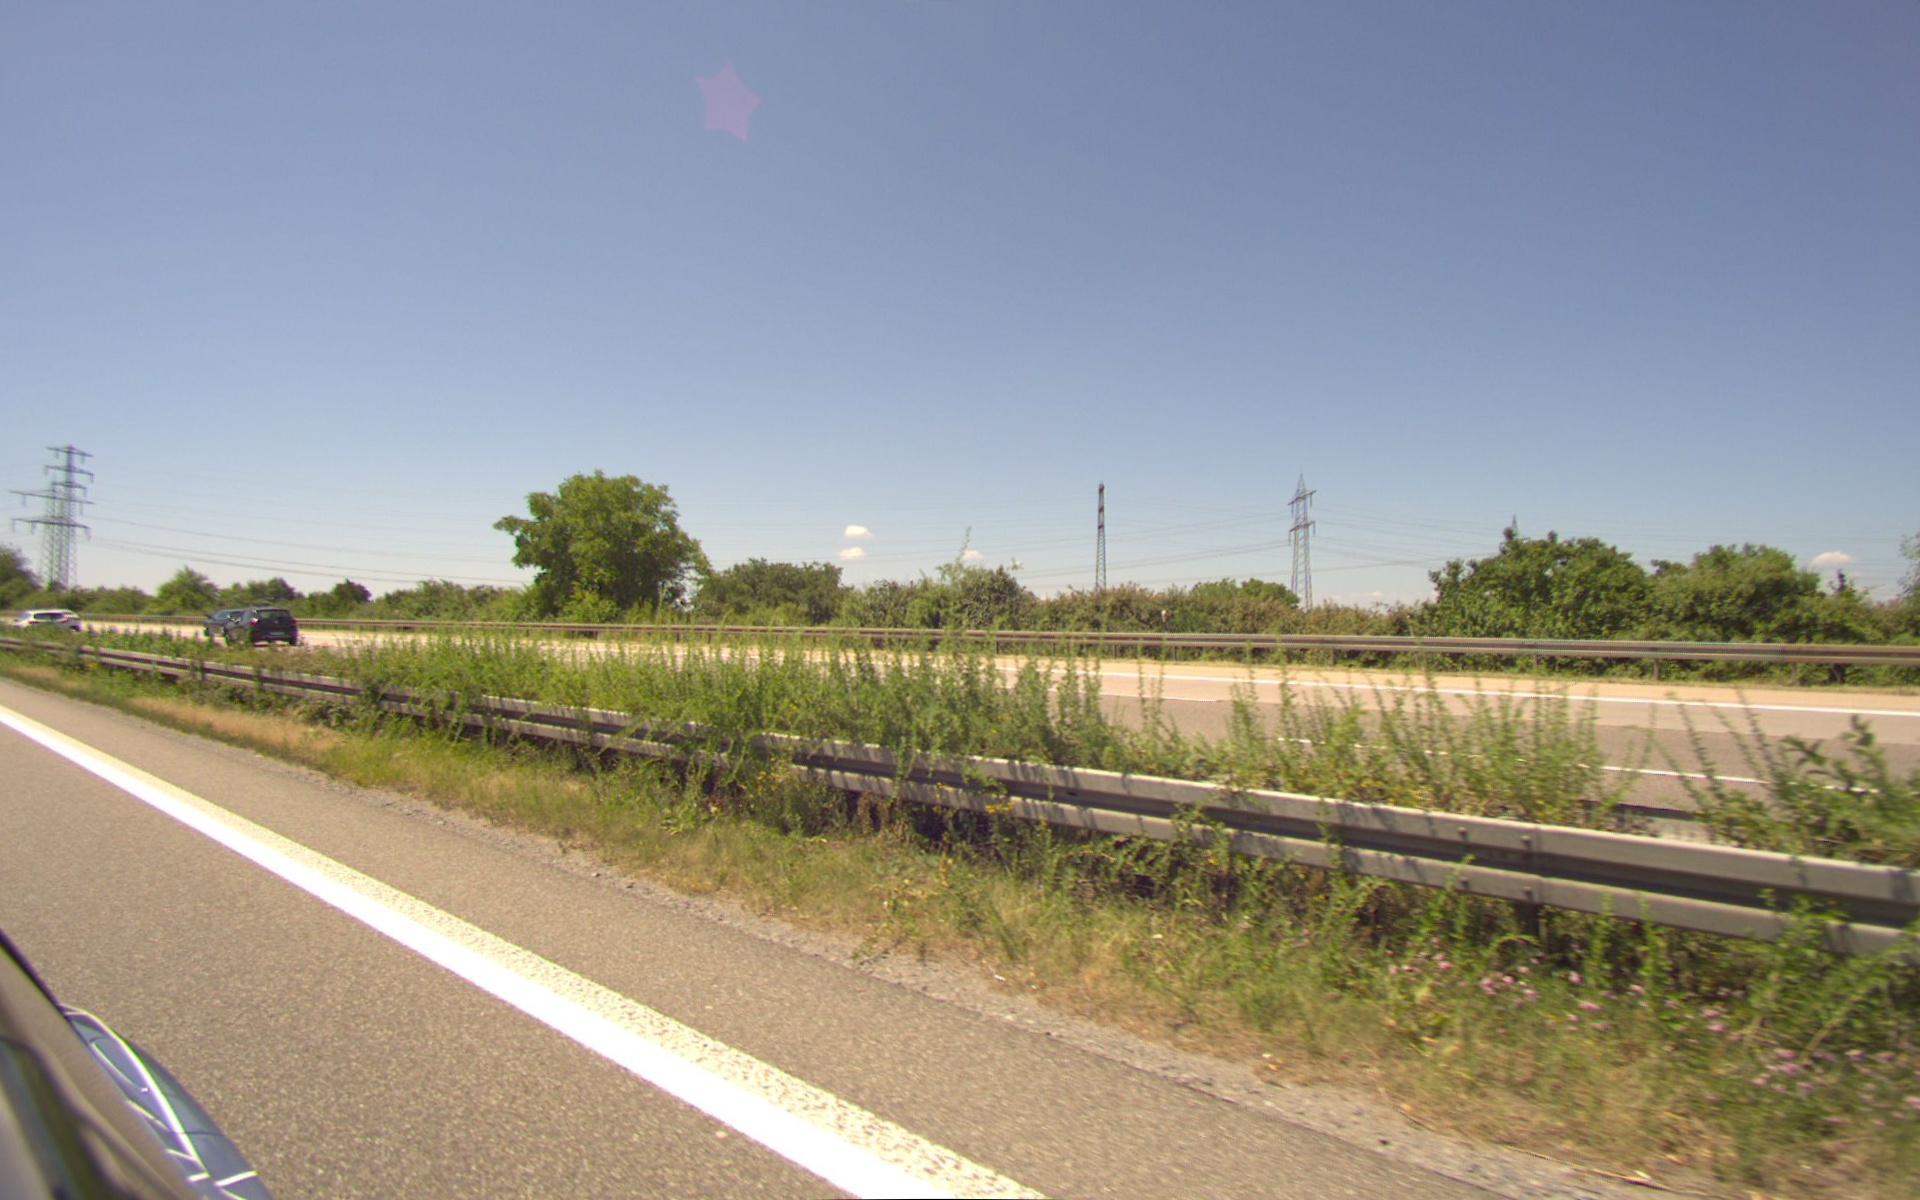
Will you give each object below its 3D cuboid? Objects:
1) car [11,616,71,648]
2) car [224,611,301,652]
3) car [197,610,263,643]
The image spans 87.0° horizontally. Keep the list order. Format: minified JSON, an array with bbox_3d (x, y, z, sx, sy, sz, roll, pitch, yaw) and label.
[{"bbox_3d":[-46.503,1.582,51.192,4.725,1.501,1.667,0,0,40],"label":"car"},{"bbox_3d":[-28.650,1.257,41.506,4.064,1.572,1.628,0,0,41],"label":"car"},{"bbox_3d":[-39.454,1.405,54.653,4.652,1.674,1.765,-1,-1,39],"label":"car"}]
